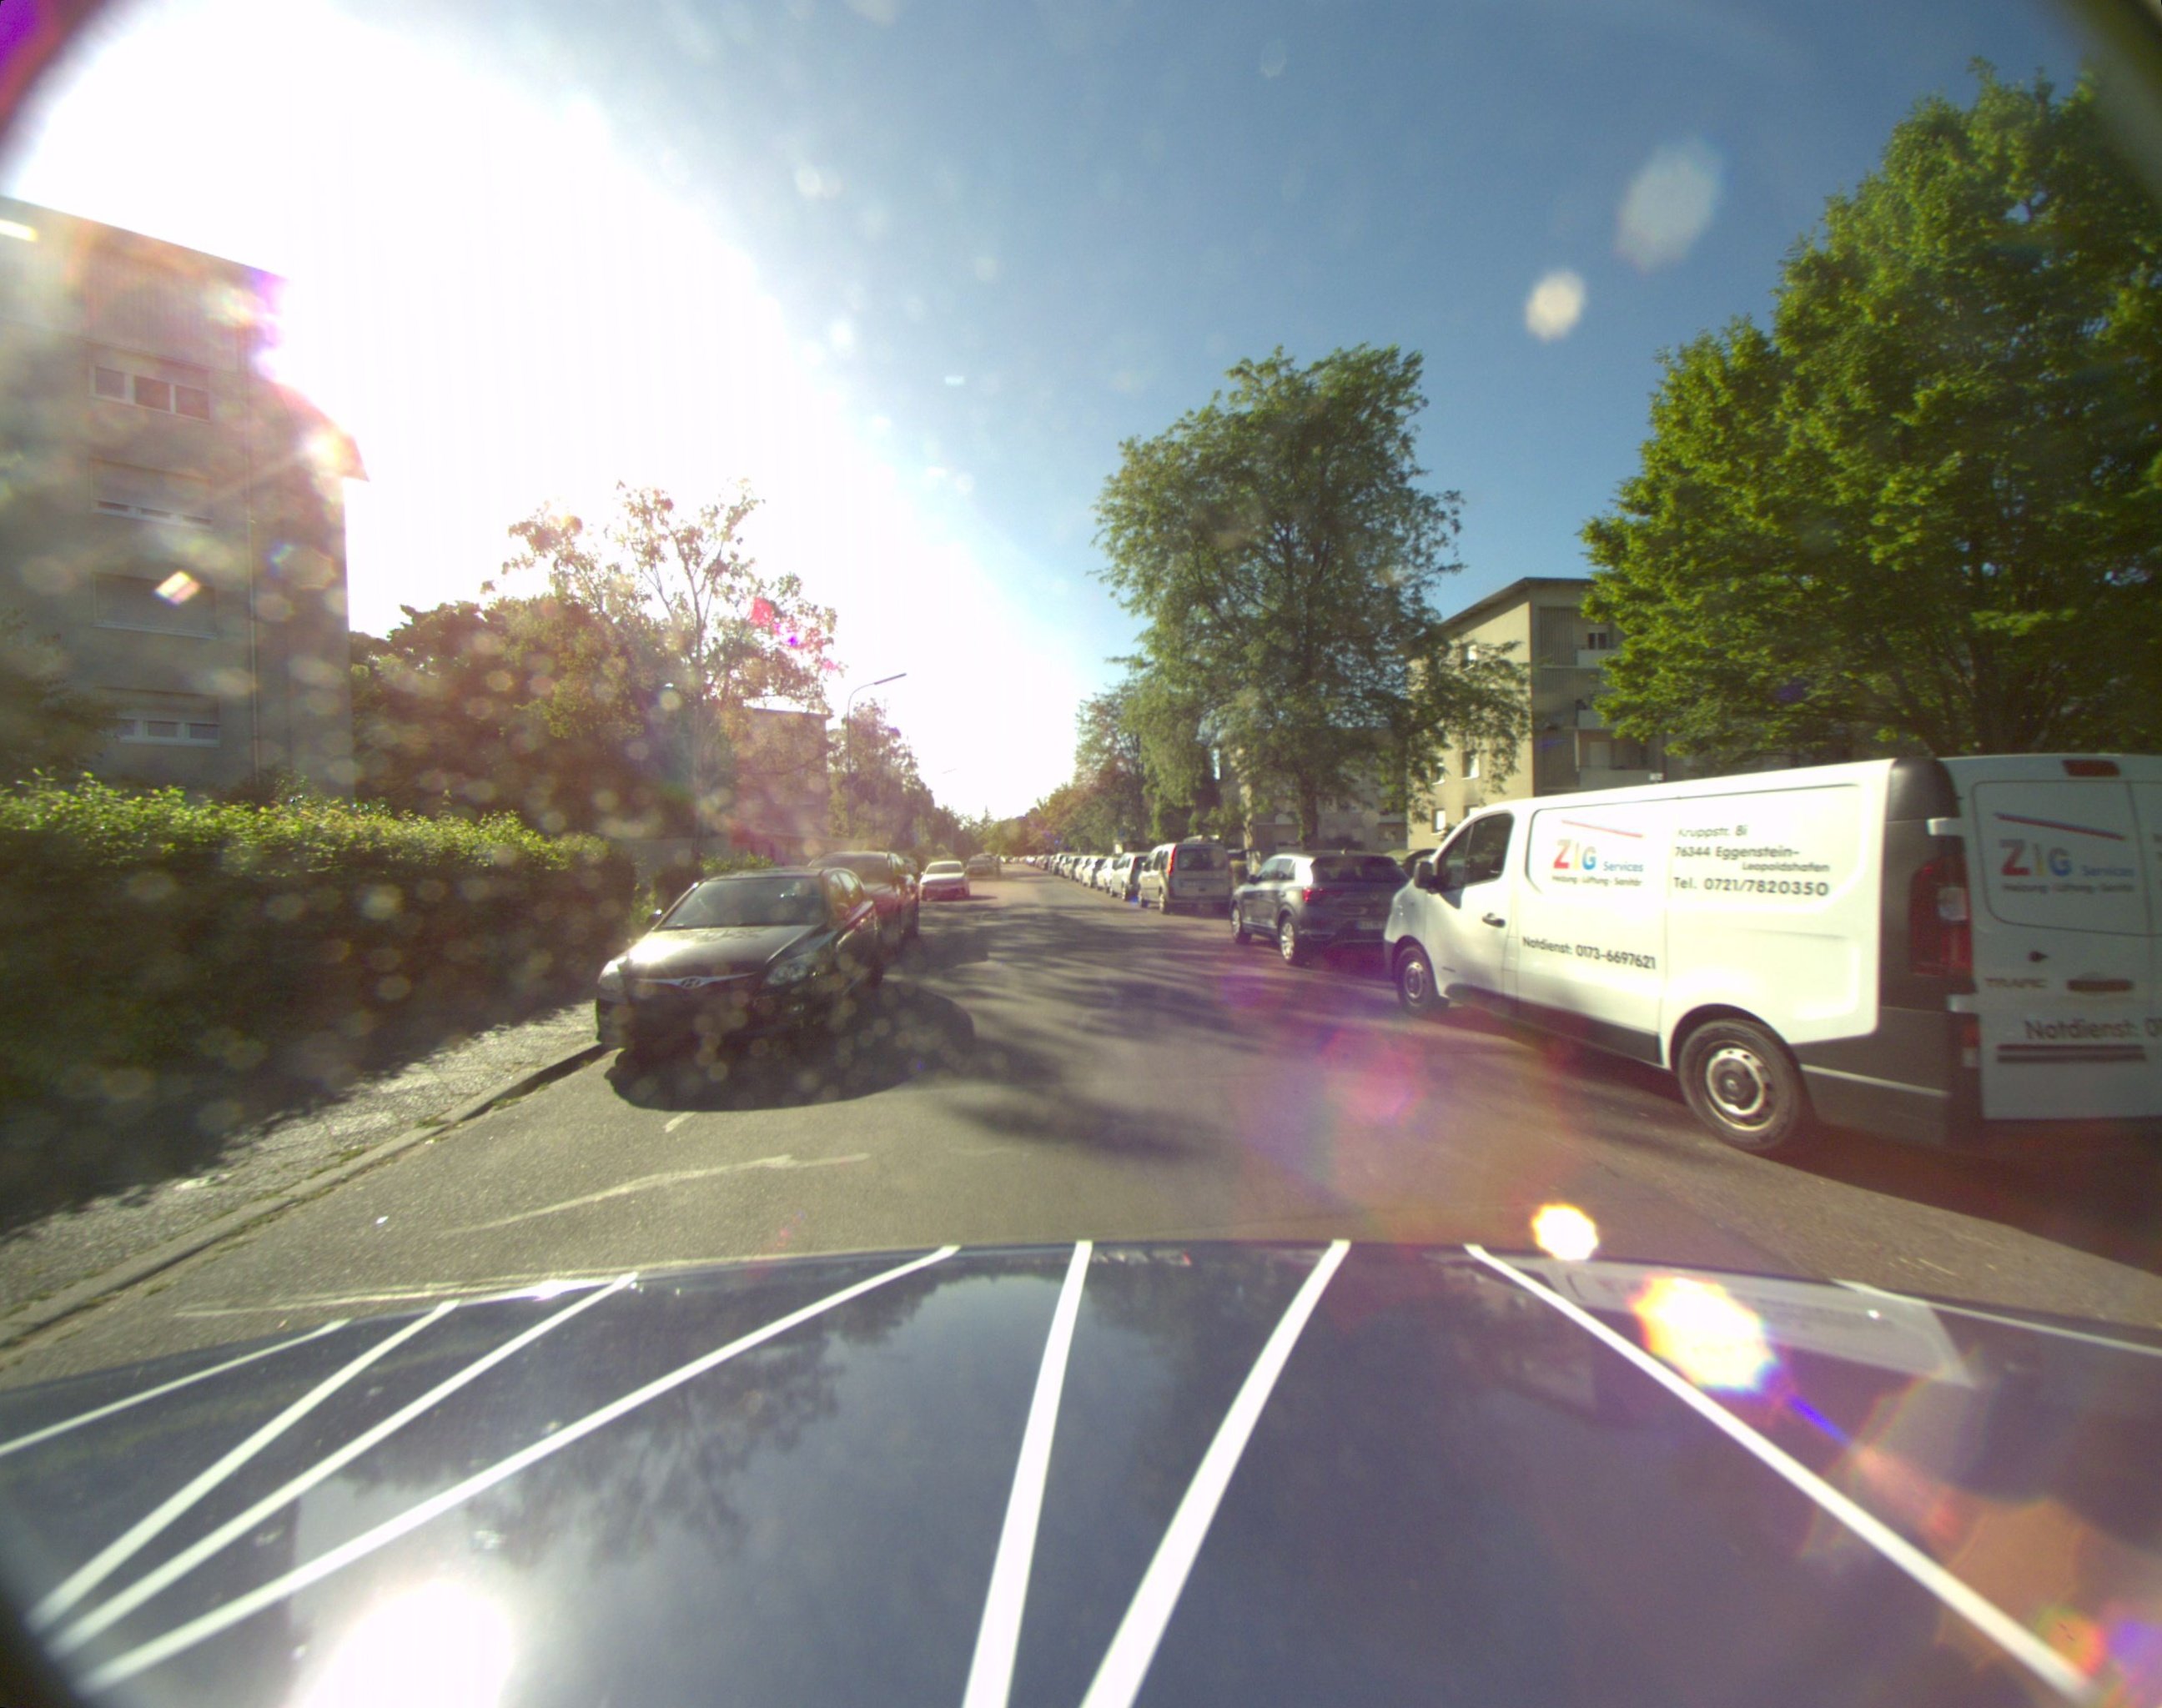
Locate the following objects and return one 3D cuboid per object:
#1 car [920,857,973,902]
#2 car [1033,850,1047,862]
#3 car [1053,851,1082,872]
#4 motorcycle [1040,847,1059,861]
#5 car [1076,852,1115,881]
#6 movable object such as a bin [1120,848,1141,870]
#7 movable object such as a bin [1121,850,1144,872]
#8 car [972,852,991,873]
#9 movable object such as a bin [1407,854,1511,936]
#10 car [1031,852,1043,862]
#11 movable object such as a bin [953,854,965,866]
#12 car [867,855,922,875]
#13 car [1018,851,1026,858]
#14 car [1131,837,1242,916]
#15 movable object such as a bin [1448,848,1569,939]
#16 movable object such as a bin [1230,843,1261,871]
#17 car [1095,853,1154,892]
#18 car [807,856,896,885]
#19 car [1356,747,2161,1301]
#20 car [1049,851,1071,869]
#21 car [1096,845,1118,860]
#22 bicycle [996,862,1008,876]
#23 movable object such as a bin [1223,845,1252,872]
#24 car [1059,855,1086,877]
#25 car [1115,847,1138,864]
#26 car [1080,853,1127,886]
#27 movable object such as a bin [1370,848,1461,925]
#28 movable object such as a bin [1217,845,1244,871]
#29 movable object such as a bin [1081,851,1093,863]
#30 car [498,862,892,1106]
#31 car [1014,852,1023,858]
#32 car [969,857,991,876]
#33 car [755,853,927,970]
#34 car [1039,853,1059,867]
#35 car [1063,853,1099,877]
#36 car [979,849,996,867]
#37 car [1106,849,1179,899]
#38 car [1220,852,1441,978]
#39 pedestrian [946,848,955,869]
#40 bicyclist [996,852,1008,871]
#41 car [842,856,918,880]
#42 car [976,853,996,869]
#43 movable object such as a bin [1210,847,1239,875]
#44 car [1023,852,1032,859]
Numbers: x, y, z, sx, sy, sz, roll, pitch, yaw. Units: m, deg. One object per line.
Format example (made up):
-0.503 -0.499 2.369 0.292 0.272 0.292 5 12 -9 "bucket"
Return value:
-5.124 0.923 29.363 1.759 1.505 4.101 -3 1 -8 "car"
-5.943 0.305 109.985 1.759 1.626 4.368 1 0 -6 "car"
-1.096 0.558 59.654 1.909 1.630 4.346 0 0 -6 "car"
-4.055 -0.048 97.057 2.263 1.717 0.931 1 1 -8 "motorcycle"
0.773 0.645 42.192 1.692 1.526 3.888 0 0 -6 "car"
3.358 0.339 51.524 1.139 1.375 1.441 -4 1 -4 "movable object such as a bin"
3.310 0.447 48.825 1.181 1.332 1.342 -4 1 -4 "movable object such as a bin"
-8.903 0.744 68.047 1.493 1.708 2.581 -3 1 -6 "car"
6.936 0.712 14.028 1.104 1.363 1.360 -4 1 -5 "movable object such as a bin"
-6.844 0.403 117.074 1.759 1.416 4.208 1 1 -4 "car"
-14.081 0.672 87.998 1.028 1.302 1.387 2 1 5 "movable object such as a bin"
-14.396 0.830 58.865 3.955 1.505 1.827 0 0 -8 "car"
-13.948 0.128 179.500 1.659 1.470 3.103 0 0 -10 "car"
2.693 0.525 20.464 1.860 1.881 4.415 0 0 -7 "car"
7.034 0.619 12.587 1.104 1.349 1.360 -4 1 -5 "movable object such as a bin"
8.888 0.149 41.048 1.181 1.412 1.462 -4 1 -4 "movable object such as a bin"
1.737 0.718 31.670 1.692 1.456 4.522 1 0 -6 "car"
-12.675 0.880 42.135 4.428 1.505 1.828 0 0 -5 "car"
3.987 0.587 5.291 1.920 1.951 5.084 0 0 -5 "car"
-1.975 0.527 69.995 1.759 1.597 3.966 1 0 -5 "car"
2.614 -0.152 78.244 1.575 1.516 3.997 -2 1 -7 "car"
-5.836 1.104 56.434 0.824 0.896 2.202 -2 0 -4 "bicycle"
8.768 0.237 42.669 1.181 1.412 1.462 -4 1 -4 "movable object such as a bin"
-0.628 0.804 54.224 1.667 1.504 3.943 0 0 -5 "car"
4.635 0.125 77.699 1.575 1.631 3.997 -2 1 -7 "car"
1.056 0.735 37.269 1.692 1.497 3.815 -1 0 -7 "car"
6.746 0.629 15.400 1.104 1.412 1.360 -4 1 -5 "movable object such as a bin"
8.683 0.240 44.189 1.181 1.412 1.462 -4 1 -4 "movable object such as a bin"
0.693 0.308 87.611 1.181 1.332 1.342 -2 1 -4 "movable object such as a bin"
-3.181 0.907 7.411 1.913 1.522 4.325 -2 1 -6 "car"
-15.177 0.276 184.802 1.659 1.470 3.731 0 0 -13 "car"
-8.450 1.006 63.479 1.737 1.395 3.892 -3 1 -8 "car"
-3.974 0.835 13.457 1.913 1.630 4.625 -2 1 -6 "car"
-3.461 0.621 81.619 1.760 1.472 4.534 1 0 -7 "car"
-0.060 0.697 49.391 1.668 1.504 3.534 0 0 -12 "car"
-10.717 0.394 87.459 1.858 1.923 4.701 -3 1 -6 "car"
2.059 0.639 26.379 1.715 1.591 3.983 1 0 -7 "car"
3.446 0.733 11.380 1.751 1.524 4.137 0 0 -3 "car"
-11.966 0.393 69.436 0.705 1.877 0.872 1 1 -5 "pedestrian"
-5.847 0.574 56.378 0.813 1.348 1.090 -2 1 -5 "bicyclist"
-13.191 0.912 50.029 4.526 1.505 1.828 0 0 -4 "car"
-9.421 0.688 75.160 1.737 1.481 4.497 -3 1 -8 "car"
7.618 0.357 40.453 1.137 1.412 1.360 -4 1 -4 "movable object such as a bin"
-11.821 0.342 167.587 1.812 1.470 3.937 0 0 -8 "car"
